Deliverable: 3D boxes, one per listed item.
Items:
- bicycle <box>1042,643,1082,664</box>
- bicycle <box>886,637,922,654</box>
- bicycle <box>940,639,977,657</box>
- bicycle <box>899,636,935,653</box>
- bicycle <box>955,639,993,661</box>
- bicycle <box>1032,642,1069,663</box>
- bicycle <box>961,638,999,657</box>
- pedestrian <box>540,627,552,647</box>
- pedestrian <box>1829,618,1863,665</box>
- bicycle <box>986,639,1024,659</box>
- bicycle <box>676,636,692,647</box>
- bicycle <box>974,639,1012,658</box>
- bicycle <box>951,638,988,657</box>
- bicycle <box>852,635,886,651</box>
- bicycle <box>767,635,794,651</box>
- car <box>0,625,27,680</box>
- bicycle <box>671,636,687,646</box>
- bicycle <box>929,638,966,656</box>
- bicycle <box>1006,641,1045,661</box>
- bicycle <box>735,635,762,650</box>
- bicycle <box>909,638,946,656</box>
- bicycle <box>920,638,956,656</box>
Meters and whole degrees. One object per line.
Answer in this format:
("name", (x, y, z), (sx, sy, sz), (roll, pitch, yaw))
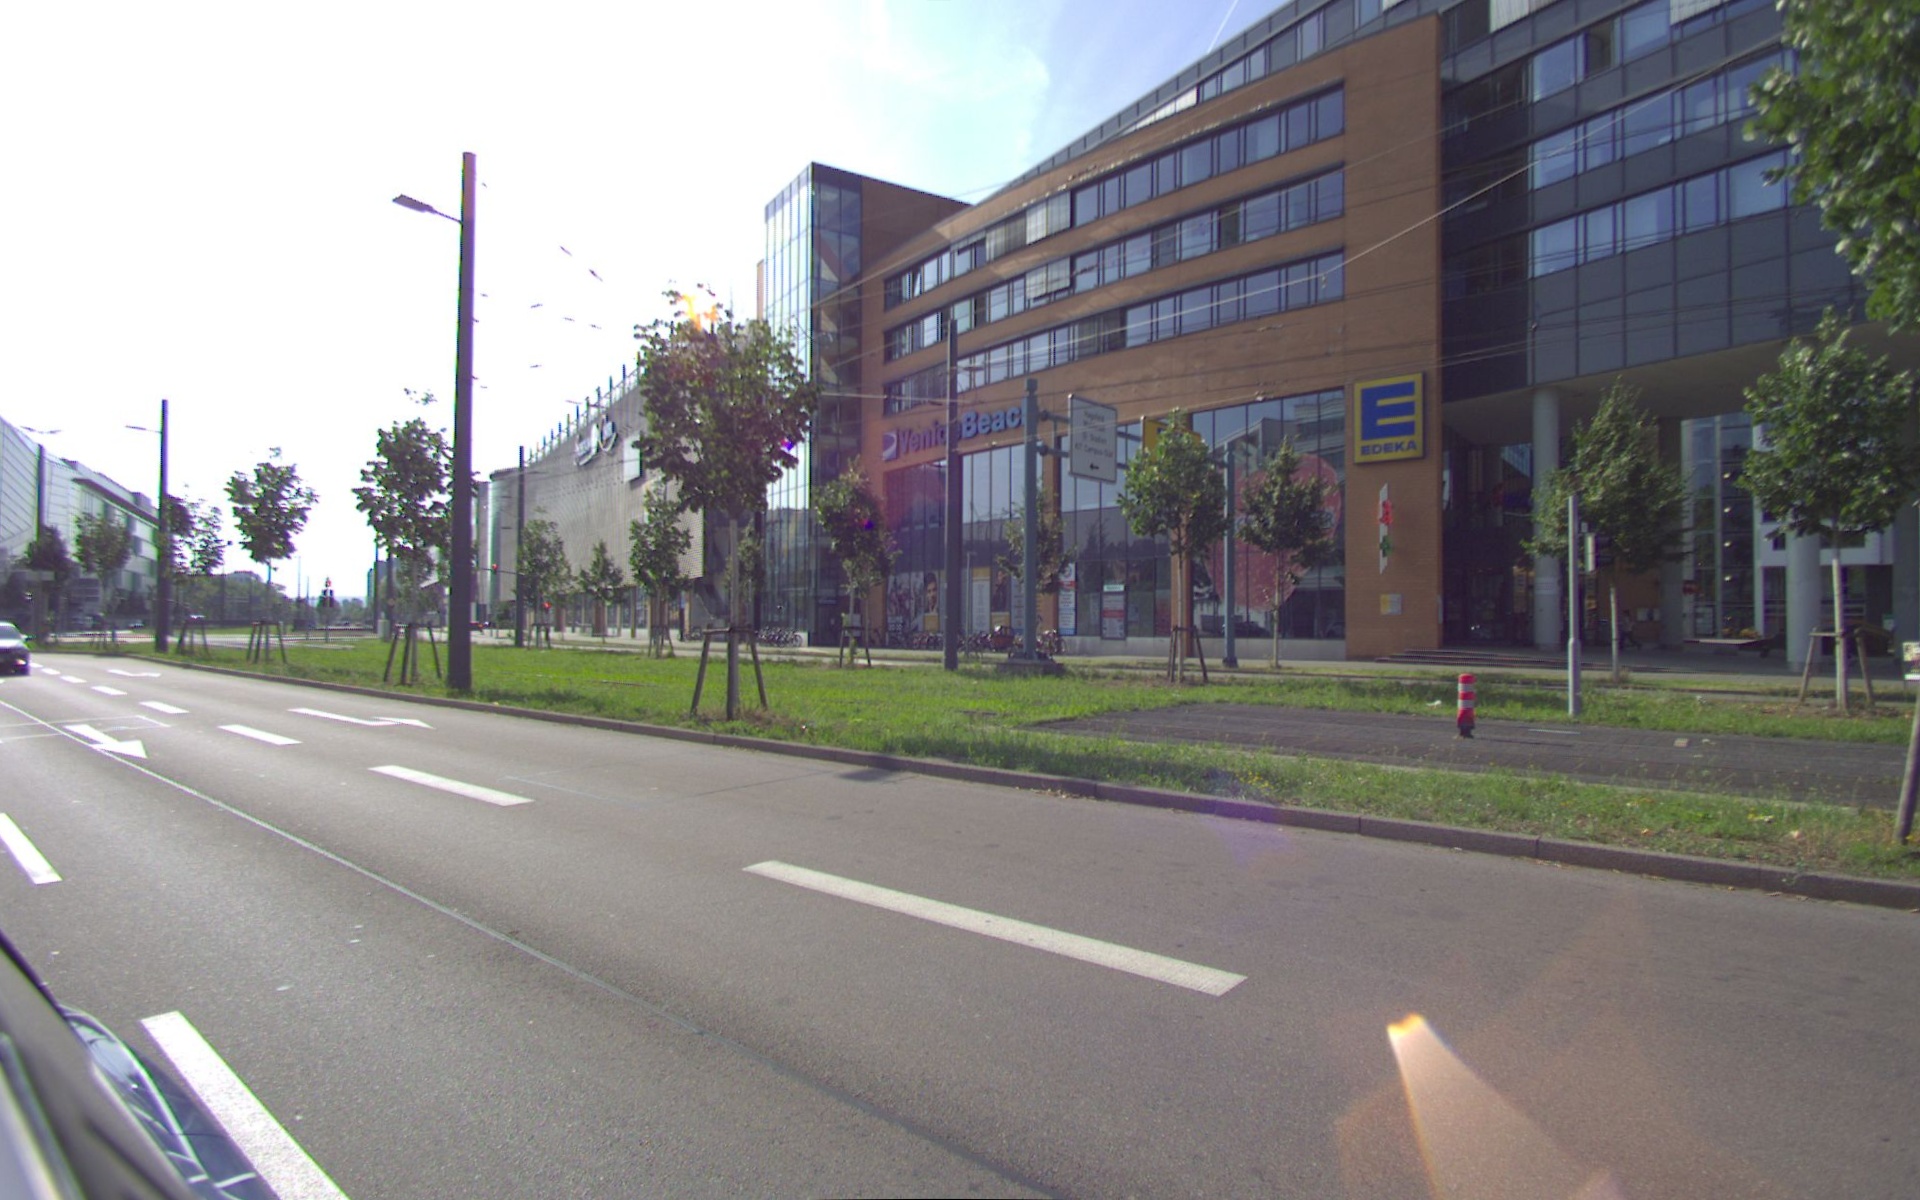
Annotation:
("bicycle", (4.759, 2.460, 46.989), (2.021, 0.928, 0.574), (1, -2, -38))
("bicycle", (-3.131, 2.537, 56.527), (2.021, 0.928, 0.574), (1, -2, -38))
("bicycle", (-0.082, 2.498, 52.815), (2.021, 0.928, 0.574), (1, -2, -38))
("bicycle", (-2.332, 2.447, 55.551), (2.021, 0.928, 0.574), (1, -2, -38))
("bicycle", (0.631, 2.170, 44.137), (0.710, 0.914, 1.656), (-1, -1, 44))
("bicycle", (4.275, 2.455, 47.547), (2.021, 0.928, 0.381), (1, -2, -38))
("bicycle", (1.024, 2.428, 51.489), (2.021, 0.928, 0.574), (1, -2, -38))
("pedestrian", (-33.092, 2.938, 80.965), (0.751, 1.591, 0.591), (1, -2, -37))
("pedestrian", (30.072, 1.395, 34.354), (0.608, 1.554, 0.665), (1, -2, -31))
("bicycle", (2.246, 2.416, 50.175), (2.021, 0.928, 0.574), (1, -2, -38))
("bicycle", (-19.788, 2.996, 72.521), (1.007, 0.758, 0.362), (1, -2, -32))
("bicycle", (1.652, 2.422, 50.854), (2.021, 0.928, 0.574), (1, -2, -38))
("bicycle", (0.509, 2.428, 52.268), (2.021, 0.928, 0.574), (1, -2, -38))
("bicycle", (-5.331, 2.535, 59.482), (2.021, 0.928, 0.574), (1, -2, -38))
("bicycle", (-10.838, 2.589, 61.001), (1.557, 0.947, 0.412), (1, -2, -34))
("car", (-26.974, 1.414, 27.754), (3.894, 1.430, 1.622), (-1, -2, 42))
("bicycle", (-20.411, 2.989, 73.542), (0.989, 0.758, 0.453), (1, -2, -31))
("bicycle", (-0.648, 2.495, 53.540), (2.021, 0.928, 0.574), (1, -2, -38))
("bicycle", (3.153, 2.442, 48.755), (2.021, 0.928, 0.574), (1, -2, -38))
("bicycle", (-13.355, 2.698, 63.937), (1.557, 0.947, 0.474), (1, -2, -34))
("bicycle", (-1.753, 2.523, 54.854), (2.021, 0.928, 0.574), (1, -2, -38))
("bicycle", (-1.170, 2.501, 54.203), (2.021, 0.928, 0.574), (1, -2, -38))
